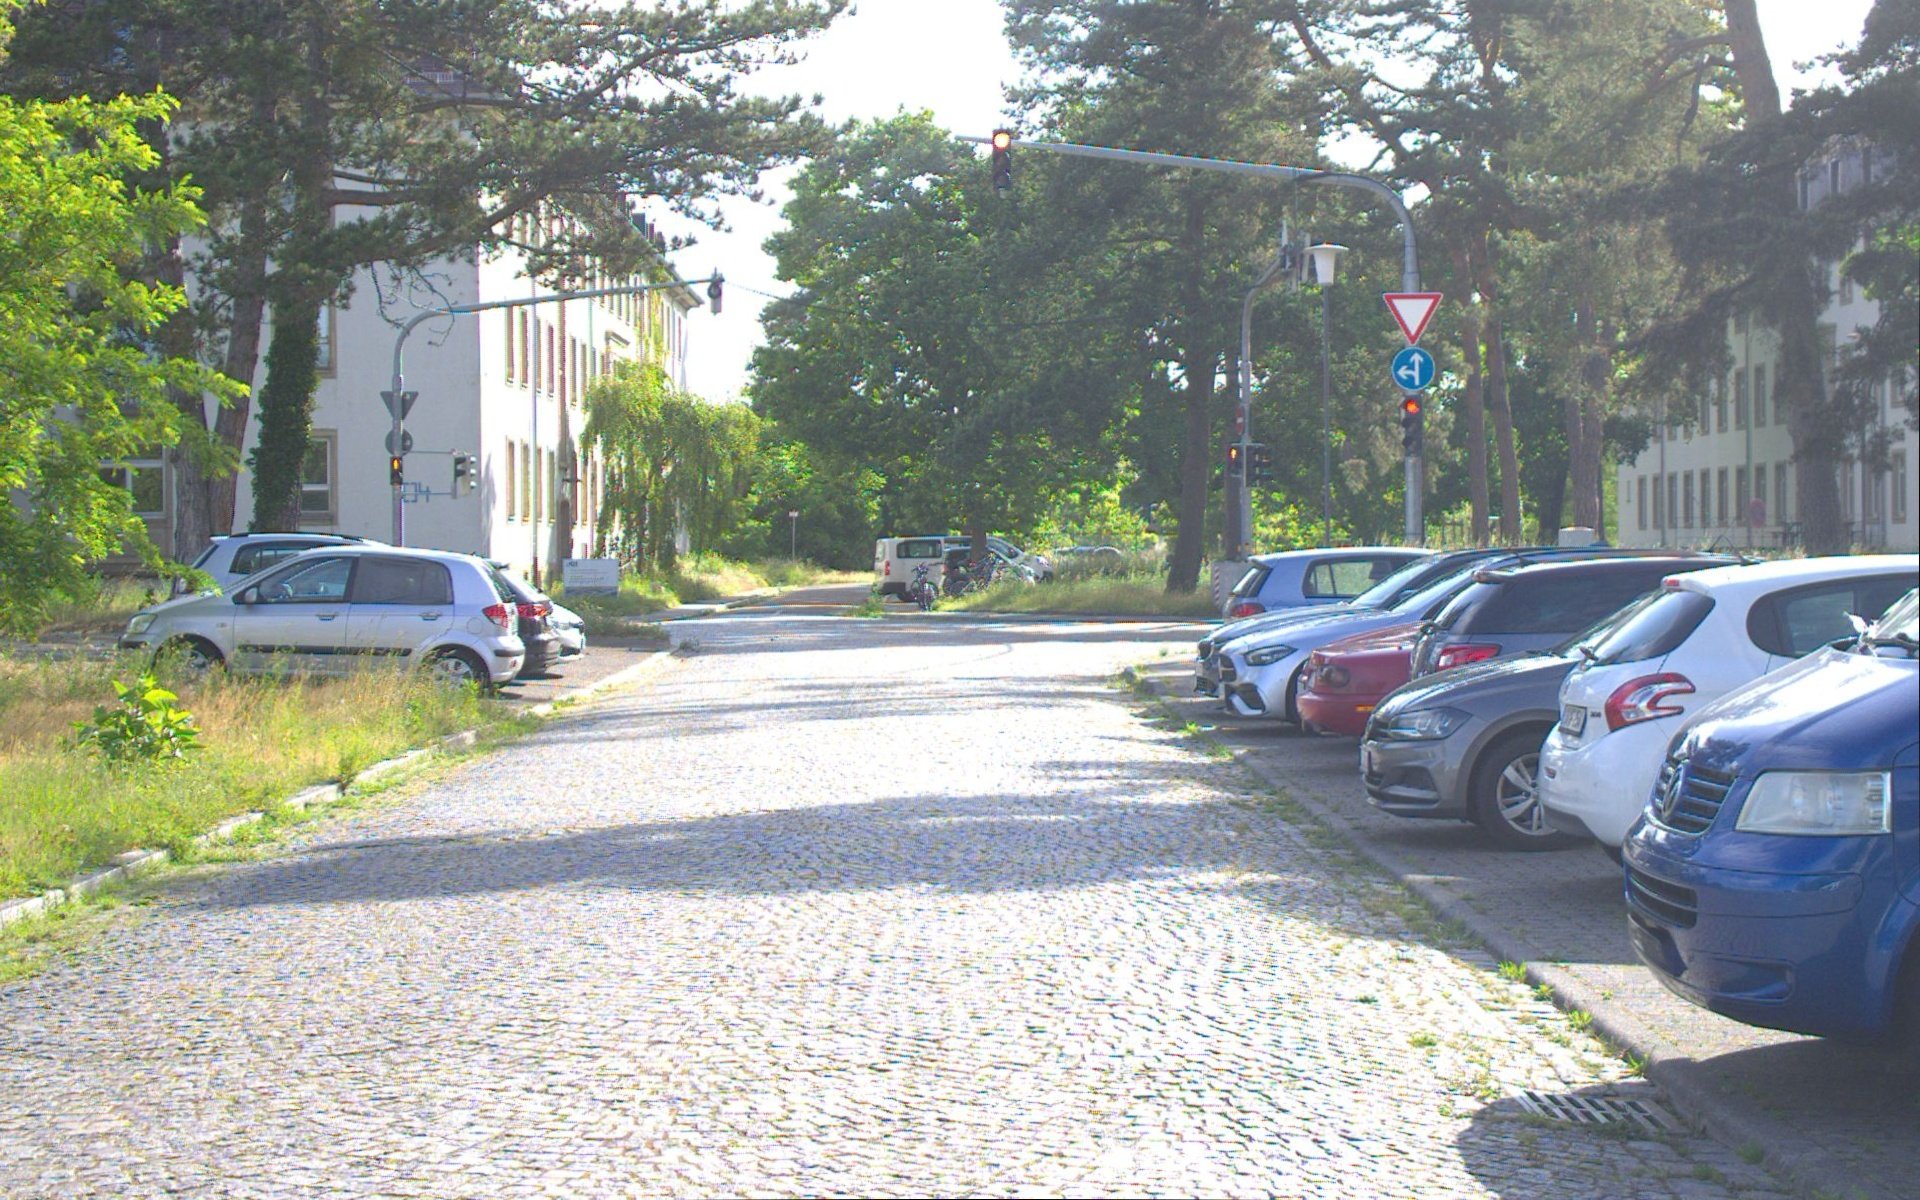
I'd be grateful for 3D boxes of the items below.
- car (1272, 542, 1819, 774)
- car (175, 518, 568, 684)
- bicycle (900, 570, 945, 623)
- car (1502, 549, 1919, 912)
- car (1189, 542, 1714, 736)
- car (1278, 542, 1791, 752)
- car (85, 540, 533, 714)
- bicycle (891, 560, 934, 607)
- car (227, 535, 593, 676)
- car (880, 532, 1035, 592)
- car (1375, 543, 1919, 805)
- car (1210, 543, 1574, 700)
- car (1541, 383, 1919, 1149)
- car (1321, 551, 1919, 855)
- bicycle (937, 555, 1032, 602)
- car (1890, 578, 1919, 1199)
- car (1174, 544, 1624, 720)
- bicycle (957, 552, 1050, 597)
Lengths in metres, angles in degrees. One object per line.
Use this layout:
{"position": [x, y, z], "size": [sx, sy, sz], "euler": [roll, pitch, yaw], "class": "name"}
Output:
{"position": [3.998, 0.373, 23.839], "size": [3.478, 1.524, 1.645], "euler": [0, 1, -1], "class": "car"}
{"position": [-6.516, -0.009, 38.399], "size": [3.987, 1.596, 2.000], "euler": [3, 1, -1], "class": "car"}
{"position": [-0.872, -0.094, 79.326], "size": [0.804, 1.165, 2.181], "euler": [-2, 1, -6], "class": "bicycle"}
{"position": [4.414, 0.509, 15.342], "size": [3.694, 1.461, 1.645], "euler": [-2, 1, 1], "class": "car"}
{"position": [4.009, 0.292, 28.379], "size": [4.033, 1.524, 1.646], "euler": [0, 1, -4], "class": "car"}
{"position": [4.319, 0.330, 26.197], "size": [3.602, 1.524, 1.645], "euler": [0, 1, -1], "class": "car"}
{"position": [-6.181, 0.229, 33.012], "size": [3.986, 1.595, 2.000], "euler": [0, 1, -3], "class": "car"}
{"position": [-1.151, -0.394, 82.446], "size": [0.804, 1.096, 2.181], "euler": [0, 1, -6], "class": "bicycle"}
{"position": [-6.470, 0.049, 40.801], "size": [3.987, 1.448, 2.000], "euler": [3, 1, -1], "class": "car"}
{"position": [-0.081, -1.116, 100.248], "size": [4.480, 1.722, 2.000], "euler": [0, 1, -1], "class": "car"}
{"position": [4.407, 0.422, 21.148], "size": [3.478, 1.524, 1.645], "euler": [0, 1, -1], "class": "car"}
{"position": [4.206, 0.194, 33.790], "size": [3.343, 1.477, 1.645], "euler": [0, 1, -1], "class": "car"}
{"position": [4.268, 0.403, 10.161], "size": [4.676, 2.007, 2.084], "euler": [0, 1, -3], "class": "car"}
{"position": [3.867, 0.507, 18.230], "size": [3.675, 1.462, 1.645], "euler": [-1, 1, -1], "class": "car"}
{"position": [0.596, -0.523, 82.782], "size": [2.172, 1.096, 0.807], "euler": [0, 1, -10], "class": "bicycle"}
{"position": [4.127, 0.675, 7.486], "size": [3.718, 1.483, 1.646], "euler": [-1, 1, -2], "class": "car"}
{"position": [3.929, 0.265, 31.150], "size": [3.835, 1.524, 1.645], "euler": [0, 1, -1], "class": "car"}
{"position": [1.063, -0.621, 84.096], "size": [2.172, 1.096, 0.807], "euler": [0, 1, -10], "class": "bicycle"}
